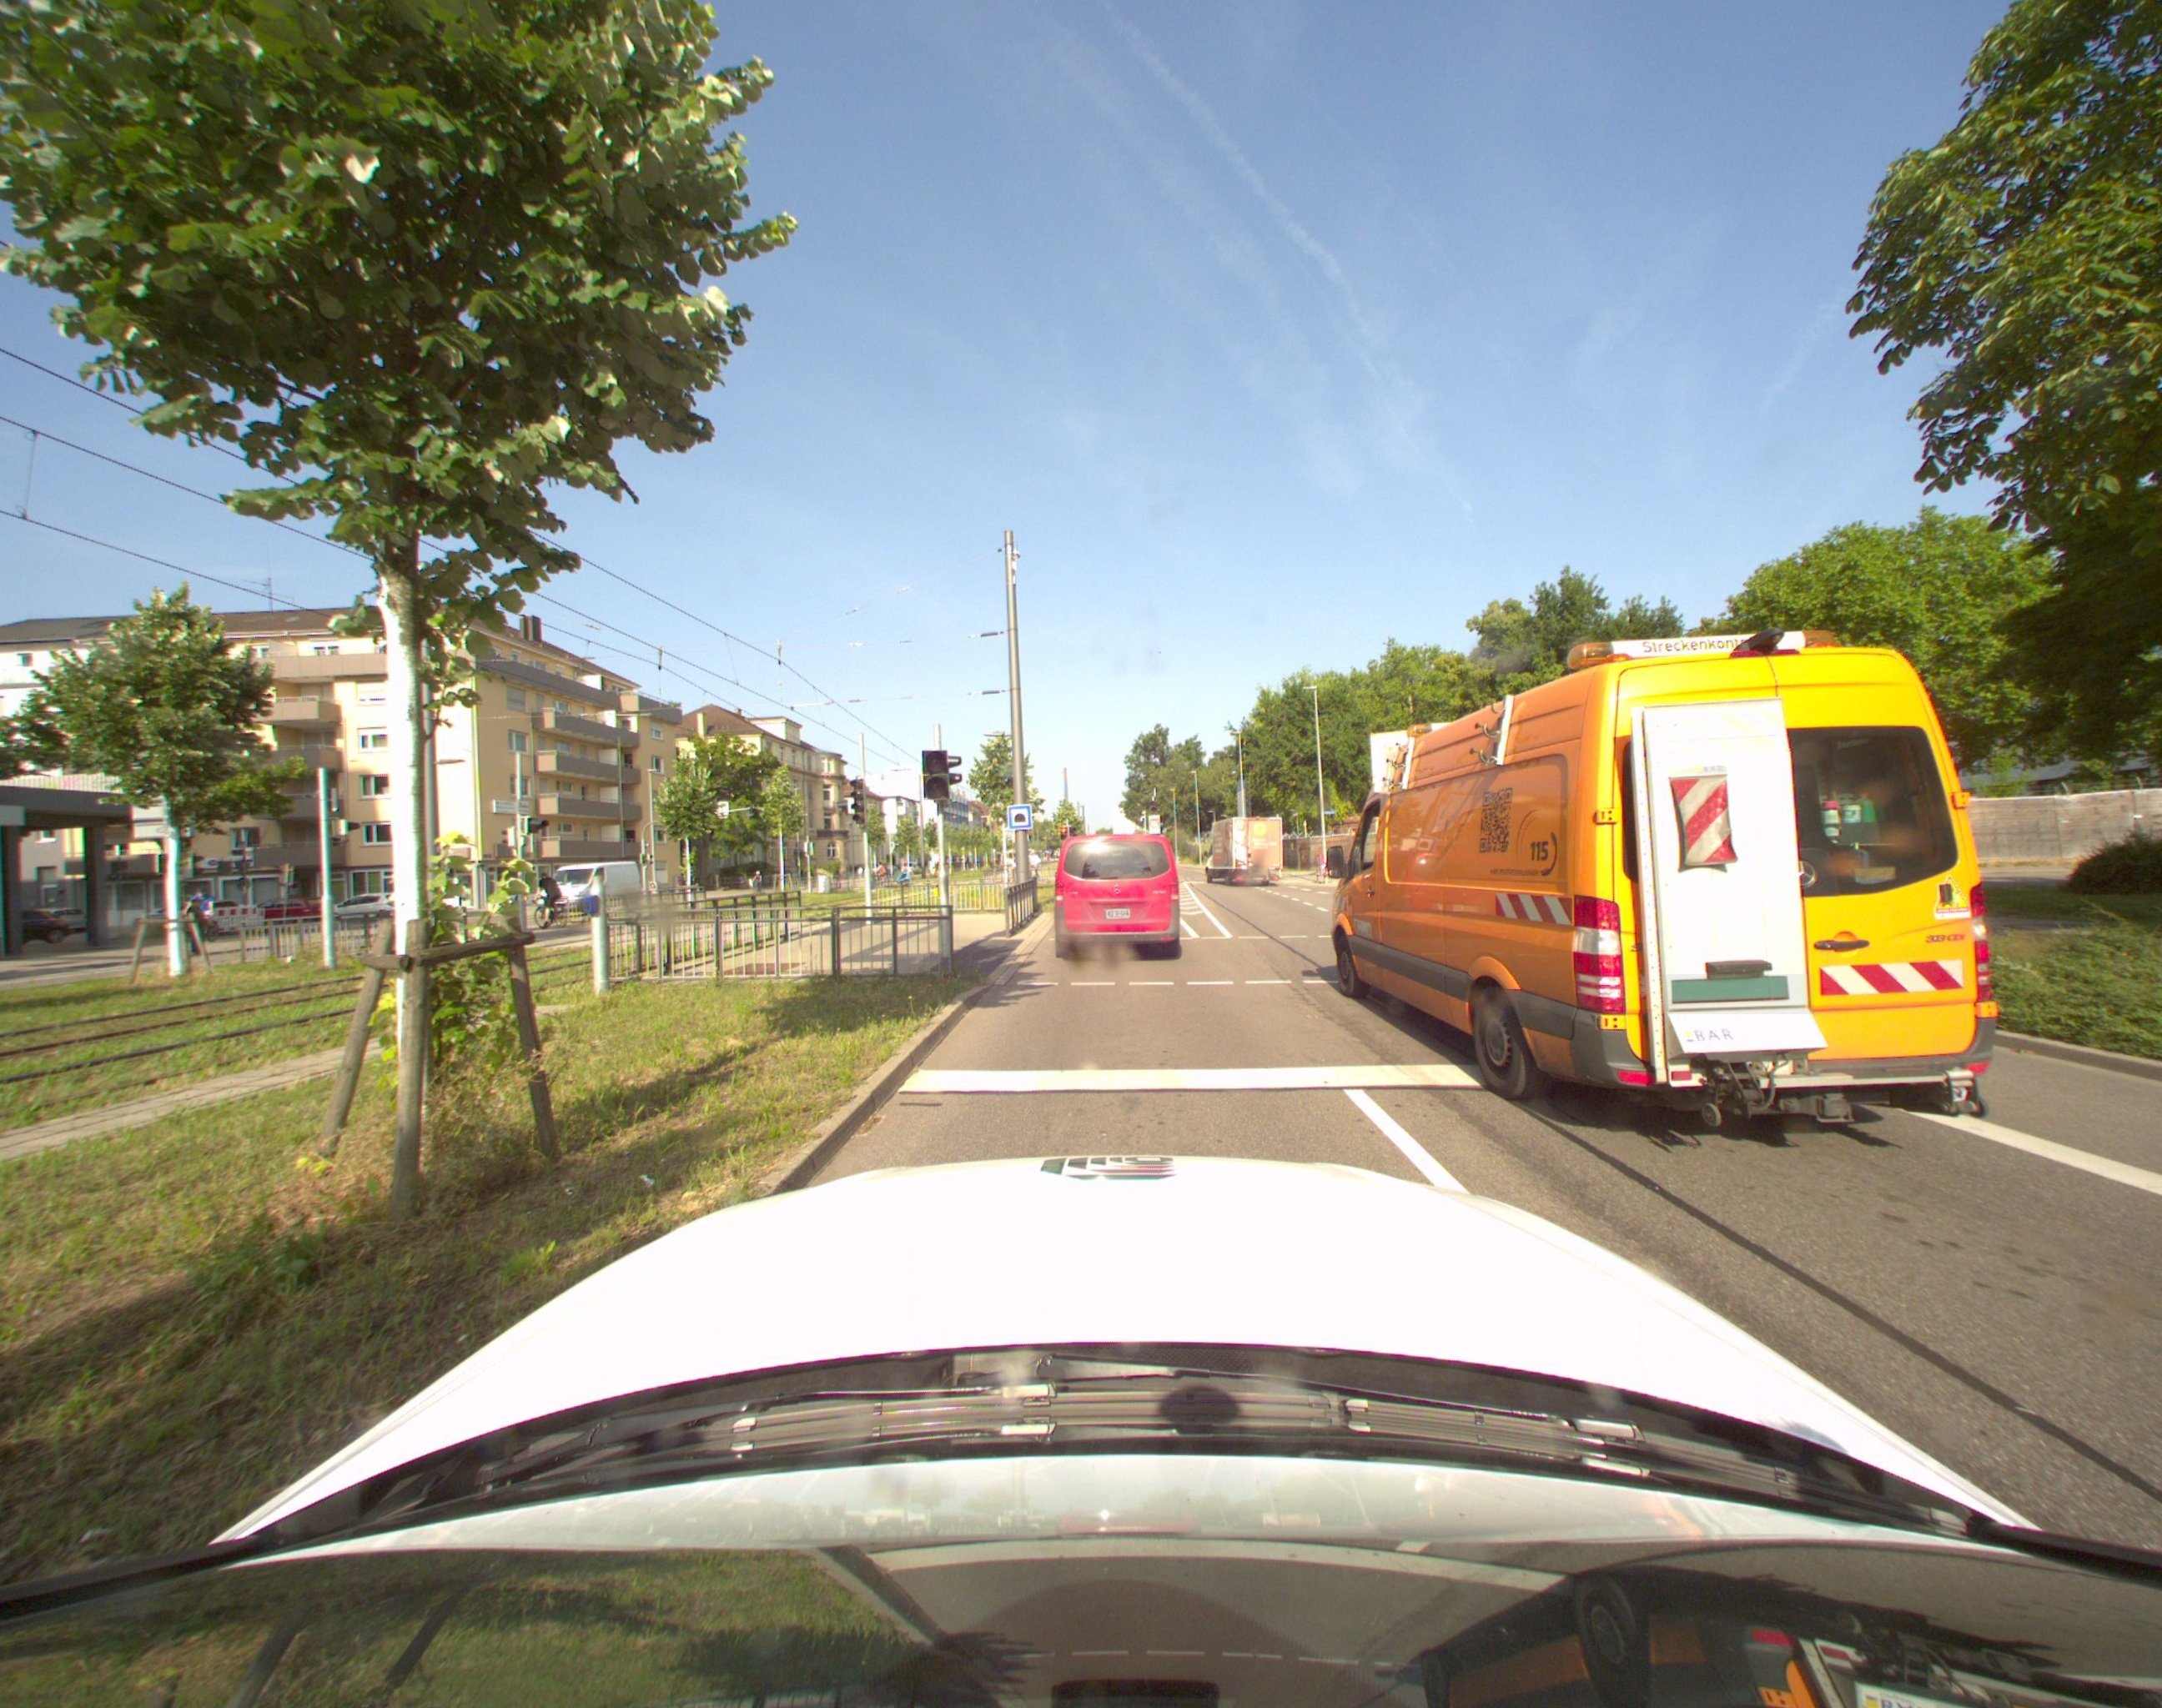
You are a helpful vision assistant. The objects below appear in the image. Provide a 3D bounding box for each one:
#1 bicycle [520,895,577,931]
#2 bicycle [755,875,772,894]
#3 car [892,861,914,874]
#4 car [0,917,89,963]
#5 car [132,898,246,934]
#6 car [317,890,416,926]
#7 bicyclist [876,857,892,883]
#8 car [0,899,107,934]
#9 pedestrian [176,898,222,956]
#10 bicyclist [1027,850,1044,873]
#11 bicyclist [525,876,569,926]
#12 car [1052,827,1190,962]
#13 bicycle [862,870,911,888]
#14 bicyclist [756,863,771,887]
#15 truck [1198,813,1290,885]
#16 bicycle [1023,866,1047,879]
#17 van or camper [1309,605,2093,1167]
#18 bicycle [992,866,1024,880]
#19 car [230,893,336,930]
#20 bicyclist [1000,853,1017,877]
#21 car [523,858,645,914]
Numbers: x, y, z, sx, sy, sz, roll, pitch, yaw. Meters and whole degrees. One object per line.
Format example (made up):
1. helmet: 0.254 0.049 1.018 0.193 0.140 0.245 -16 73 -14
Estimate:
1. bicycle: -16.275 1.810 24.879 1.593 0.935 0.561 -5 1 22
2. bicycle: -24.438 2.331 62.732 0.693 1.346 1.755 -2 0 -3
3. car: -27.830 2.094 127.242 2.242 2.014 5.261 0 -2 0
4. car: -44.090 3.550 33.227 1.904 1.628 4.378 0 -1 -1
5. car: -47.846 3.318 43.760 3.930 1.604 1.814 -3 0 -2
6. car: -38.348 2.886 43.776 3.613 1.583 1.708 -3 2 -2
7. bicyclist: -12.723 1.011 52.615 0.890 1.628 0.889 -2 0 -12
8. car: -55.959 3.398 44.126 3.931 1.604 1.814 -3 0 -3
9. pedestrian: -27.172 2.245 25.102 0.655 1.690 0.646 -3 0 5
10. bicyclist: -2.817 0.460 50.164 0.679 1.440 0.811 -1 -1 30
11. bicyclist: -16.317 1.431 24.879 0.962 1.395 0.549 -5 0 22
12. car: 0.626 0.564 13.379 1.894 1.859 4.002 -1 0 2
13. bicycle: -12.530 1.606 52.630 2.989 0.965 0.897 -2 0 -11
14. bicyclist: -24.459 1.626 62.731 0.667 1.805 1.083 -2 0 -2
15. truck: 7.562 -0.173 38.918 2.496 3.061 7.812 0 -1 -2
16. bicycle: -2.812 1.135 50.156 0.711 0.798 1.613 -1 -1 30
17. van or camper: 3.587 0.133 6.645 1.978 2.472 6.065 -1 0 2
18. bicycle: -4.718 1.205 52.494 1.992 0.793 0.628 -3 0 -3
19. car: -42.891 3.081 43.830 3.777 1.688 1.773 -3 0 -2
20. bicyclist: -4.659 0.685 52.501 0.981 1.500 0.620 -3 0 -3
21. car: -22.215 1.351 36.712 2.038 2.238 5.335 -2 0 1
